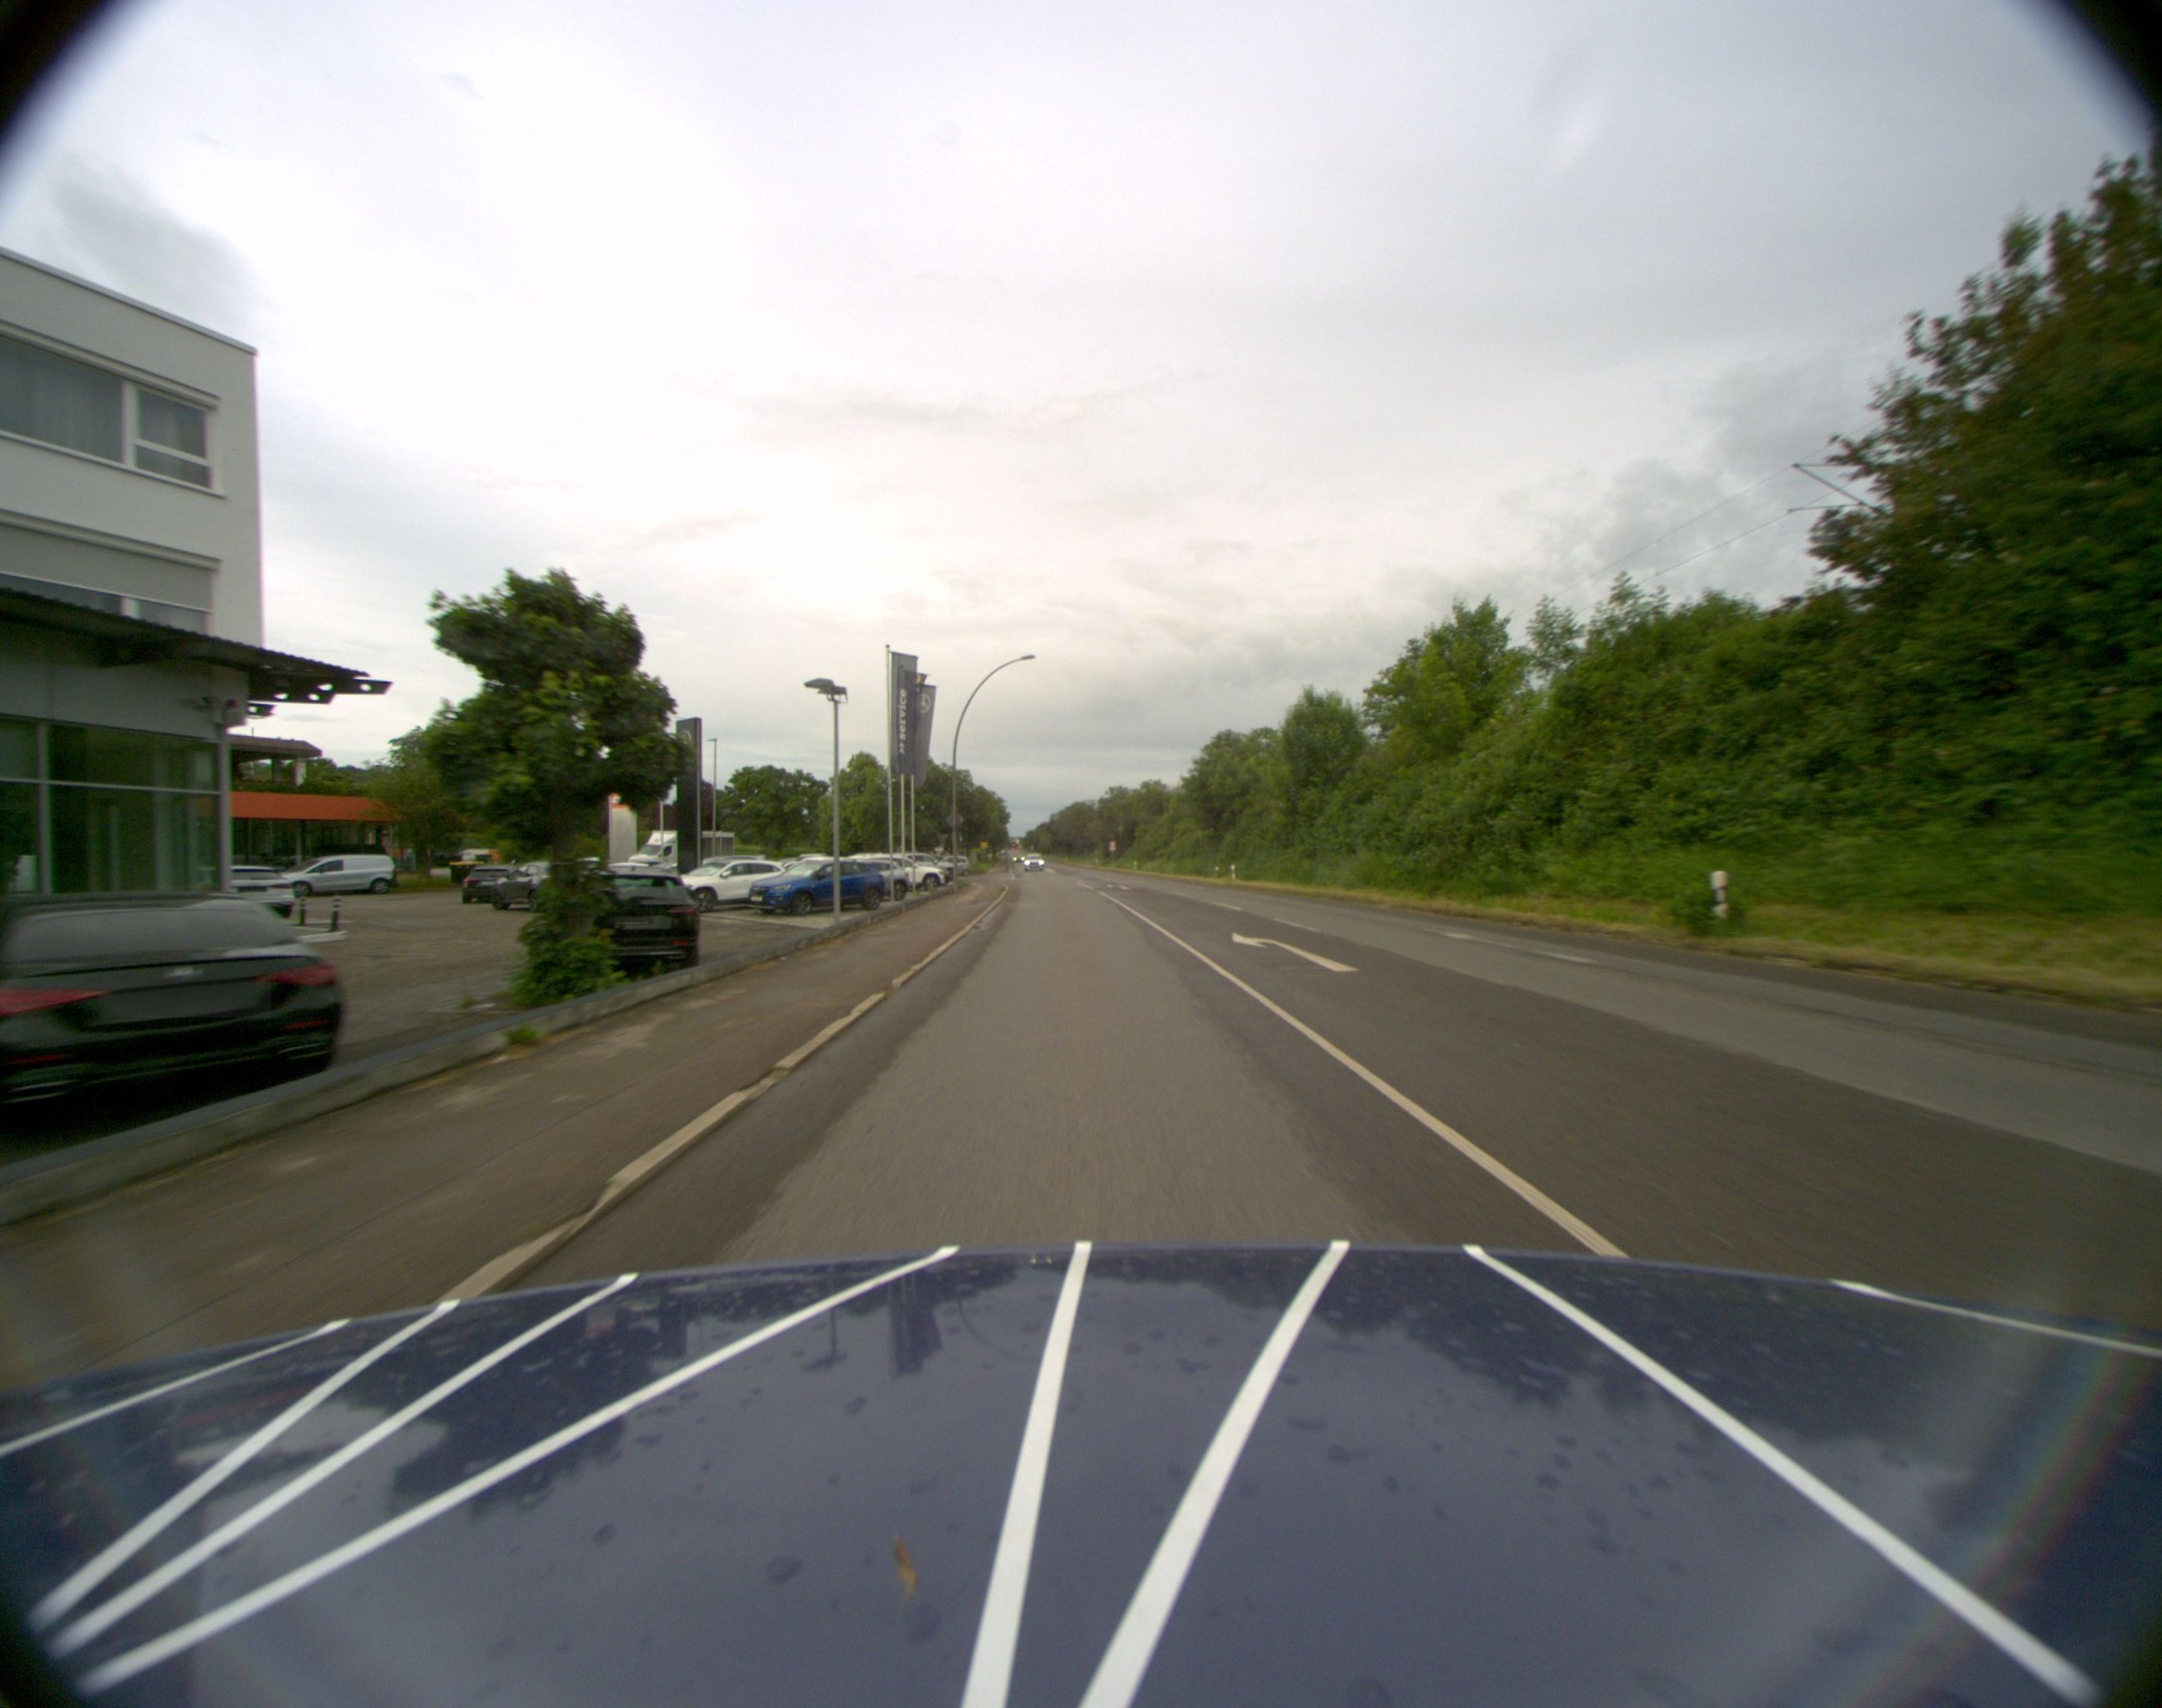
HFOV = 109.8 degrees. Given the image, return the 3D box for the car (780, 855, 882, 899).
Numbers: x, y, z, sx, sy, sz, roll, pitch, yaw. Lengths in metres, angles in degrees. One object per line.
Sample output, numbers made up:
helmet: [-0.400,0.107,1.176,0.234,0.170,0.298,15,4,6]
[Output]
car: [-9.833,0.849,30.067,1.659,1.590,3.566,1,1,34]

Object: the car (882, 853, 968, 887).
car: [-8.549,0.856,41.997,1.960,1.661,4.373,-1,1,39]

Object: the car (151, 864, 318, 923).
car: [-23.023,1.007,20.659,4.399,1.433,2.004,0,0,28]

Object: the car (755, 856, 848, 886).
car: [-14.464,0.863,39.467,1.767,1.452,4.134,-1,-1,44]

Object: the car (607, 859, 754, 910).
car: [-13.543,0.975,25.923,1.898,1.536,4.008,-1,0,32]

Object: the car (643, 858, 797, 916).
car: [-11.332,0.961,24.163,1.727,1.590,4.187,1,1,29]

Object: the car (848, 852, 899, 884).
car: [-11.935,0.734,43.997,1.813,1.663,4.707,-2,1,-2]

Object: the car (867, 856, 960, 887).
car: [-8.347,0.845,37.916,4.149,1.386,1.847,-1,1,-33]

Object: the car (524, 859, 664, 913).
car: [-18.399,1.154,28.881,1.767,1.632,3.993,-2,3,33]

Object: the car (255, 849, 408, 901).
car: [-33.825,0.893,34.457,1.829,2.002,4.456,-2,1,22]

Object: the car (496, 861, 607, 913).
car: [-16.764,0.978,24.044,3.552,1.469,1.784,1,1,35]

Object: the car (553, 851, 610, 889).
car: [-21.343,0.675,32.567,1.775,1.542,3.442,0,-1,-29]

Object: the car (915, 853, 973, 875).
car: [-10.344,0.714,57.530,1.994,1.537,4.008,-1,0,36]

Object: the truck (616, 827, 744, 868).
truck: [-28.961,-0.566,55.425,2.783,2.608,8.484,-3,1,19]

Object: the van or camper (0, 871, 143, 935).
van or camper: [-37.174,1.725,27.264,1.804,2.028,4.006,-1,1,24]

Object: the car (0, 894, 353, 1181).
car: [-7.732,1.138,5.903,4.431,1.470,1.938,-1,0,32]

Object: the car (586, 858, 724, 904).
car: [-15.571,0.939,27.974,1.898,1.536,4.008,-1,0,31]

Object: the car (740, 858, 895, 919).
car: [-8.170,0.988,23.909,1.838,1.623,4.375,2,2,34]

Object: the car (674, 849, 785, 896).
car: [-15.246,0.766,33.130,1.674,1.711,4.006,-2,3,33]

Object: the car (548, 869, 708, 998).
car: [-7.186,1.065,12.173,1.845,1.598,4.539,0,0,-30]

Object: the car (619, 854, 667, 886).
car: [-21.035,0.742,36.406,1.775,1.452,3.990,0,-1,-33]

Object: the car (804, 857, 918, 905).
car: [-8.060,0.934,28.126,1.727,1.590,3.822,1,1,34]

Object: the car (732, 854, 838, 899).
car: [-12.561,0.885,32.439,1.676,1.447,3.930,6,7,36]

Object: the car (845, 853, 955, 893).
car: [-8.119,0.805,34.258,4.436,1.643,1.922,-1,1,-38]

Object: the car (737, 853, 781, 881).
car: [-17.709,0.688,41.983,2.076,1.452,4.757,0,-1,-21]
